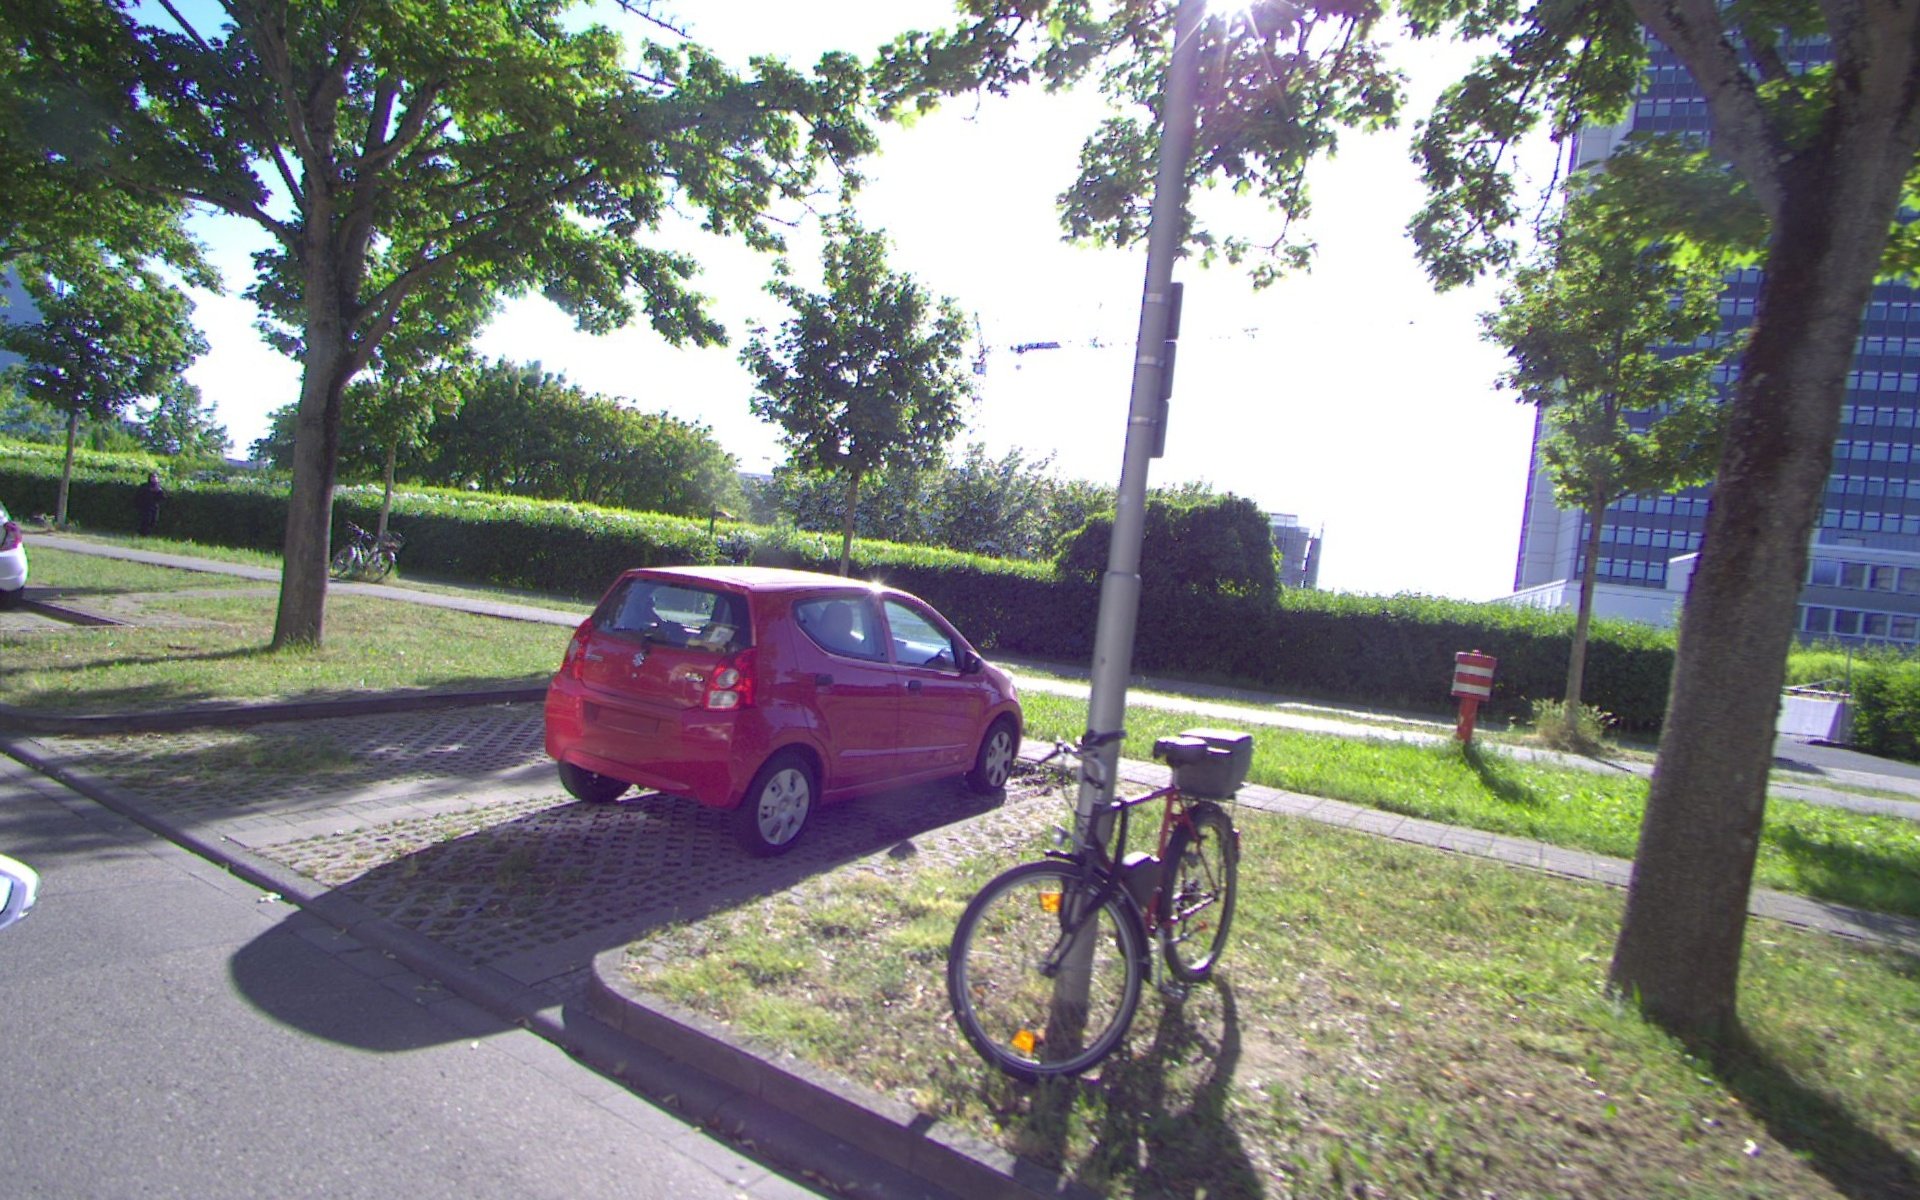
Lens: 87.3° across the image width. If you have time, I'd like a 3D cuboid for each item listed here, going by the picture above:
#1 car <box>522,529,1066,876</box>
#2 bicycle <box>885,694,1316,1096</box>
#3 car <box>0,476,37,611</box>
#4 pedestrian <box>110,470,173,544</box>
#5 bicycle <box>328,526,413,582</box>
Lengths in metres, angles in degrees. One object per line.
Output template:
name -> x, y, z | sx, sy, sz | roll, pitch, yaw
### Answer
car -> -0.836, 0.488, 6.666 | 1.600, 1.565, 3.433 | 7, 3, 32
bicycle -> 0.591, 0.881, 3.549 | 0.523, 1.004, 1.746 | 8, 2, 42
car -> -12.716, -0.837, 11.727 | 3.699, 1.514, 1.645 | 7, 3, 26
pedestrian -> -19.518, -2.212, 23.993 | 0.837, 1.608, 0.725 | 7, 1, 20
bicycle -> -10.995, -0.854, 18.758 | 1.382, 0.878, 0.347 | 7, 2, 7
